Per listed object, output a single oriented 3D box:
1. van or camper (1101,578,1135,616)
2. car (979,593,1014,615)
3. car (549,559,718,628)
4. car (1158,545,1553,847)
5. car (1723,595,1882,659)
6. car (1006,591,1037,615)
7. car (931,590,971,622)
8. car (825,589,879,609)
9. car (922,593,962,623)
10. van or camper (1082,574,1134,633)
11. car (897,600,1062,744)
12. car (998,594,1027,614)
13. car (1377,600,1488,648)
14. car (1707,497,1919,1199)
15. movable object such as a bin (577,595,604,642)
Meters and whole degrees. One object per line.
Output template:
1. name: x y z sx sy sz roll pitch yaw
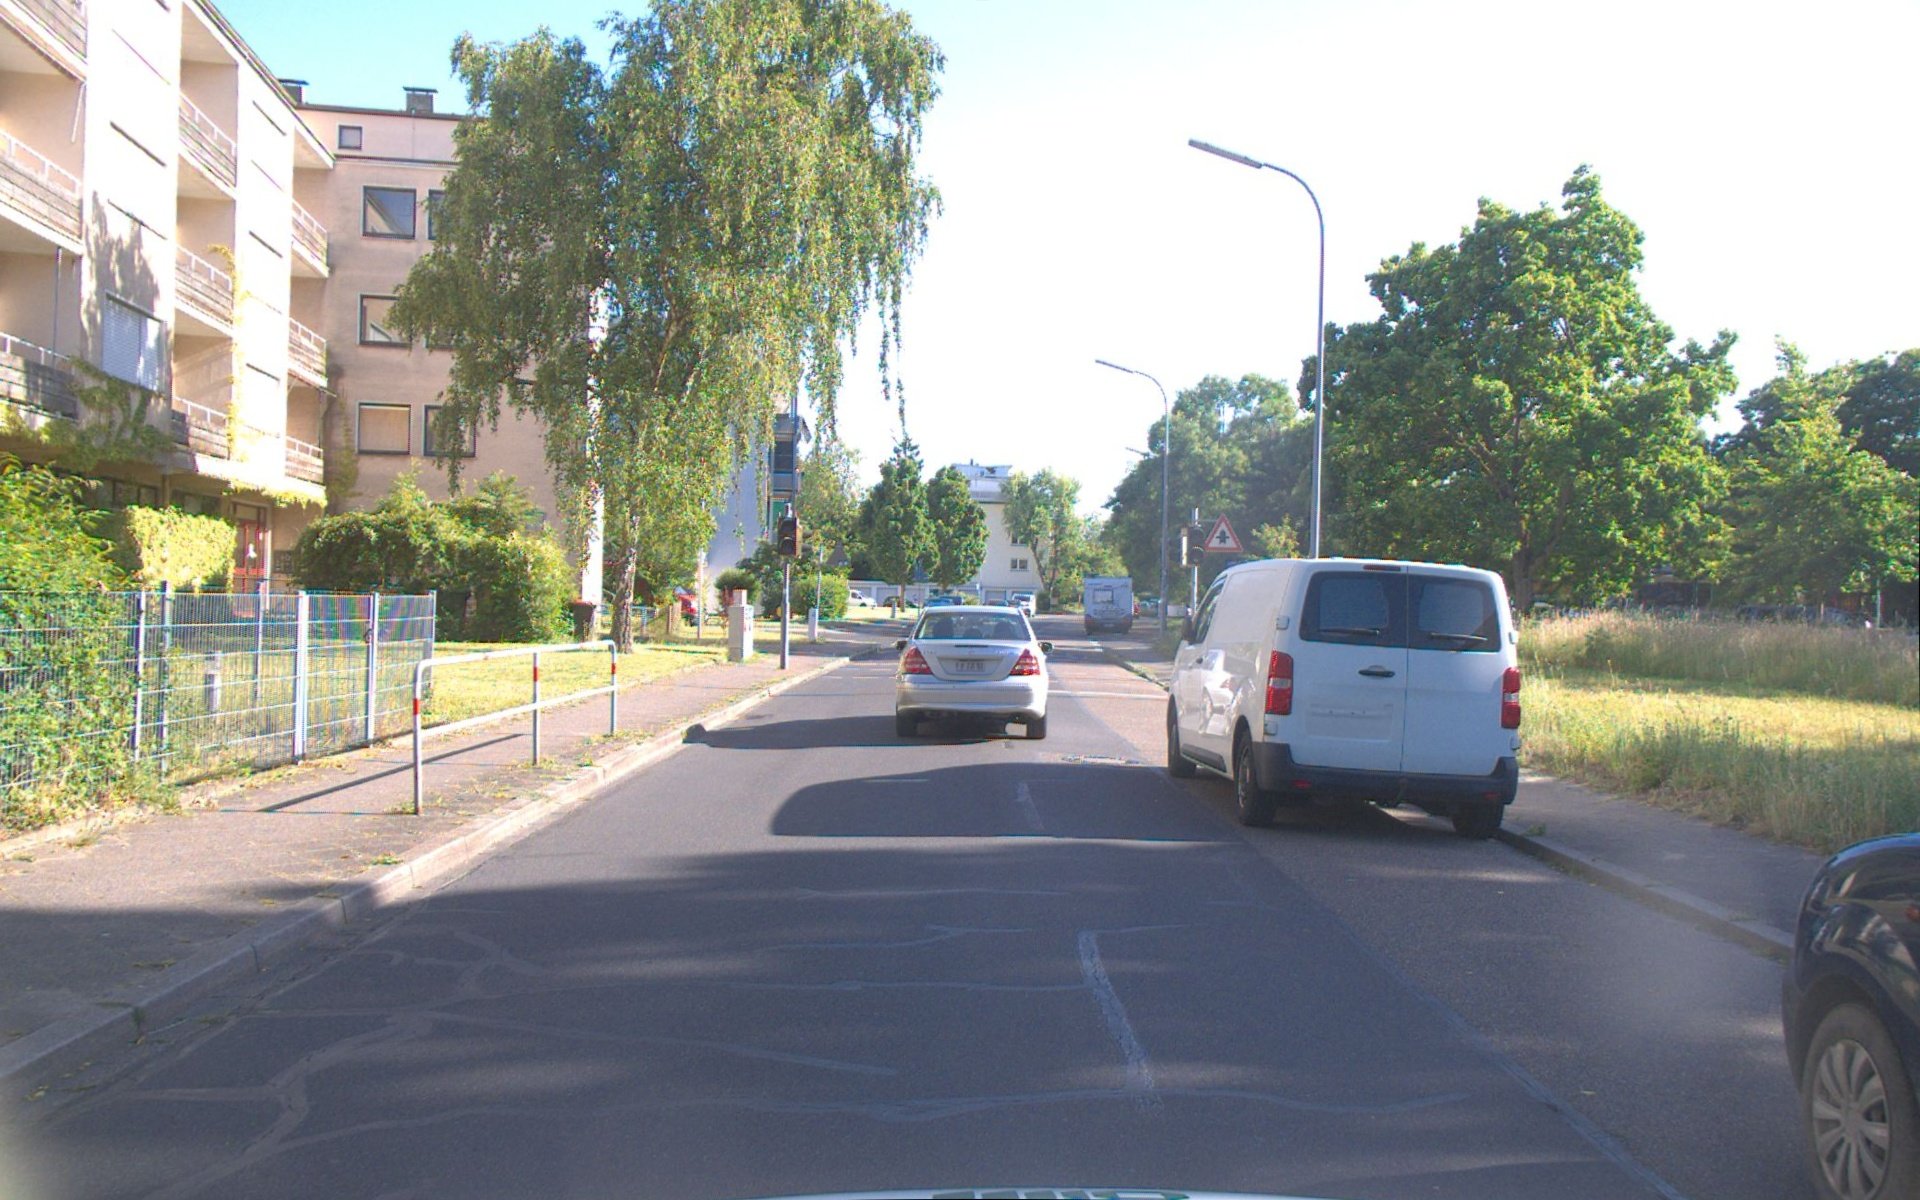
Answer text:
1. van or camper: 12.289 -0.226 128.472 2.443 2.895 6.856 1 0 7
2. car: 2.745 0.277 123.070 1.992 1.518 5.260 4 1 7
3. car: -12.113 -0.265 61.585 5.782 2.471 2.214 0 1 2
4. car: 2.888 0.623 13.287 1.876 1.904 4.864 2 0 -1
5. car: 29.036 0.906 57.165 4.408 2.047 2.276 1 0 11
6. car: 5.323 0.245 142.234 1.971 1.918 5.195 3 0 9
7. car: -0.474 0.331 94.430 1.874 1.631 4.814 4 1 4
8. car: -10.868 -0.118 166.959 4.997 1.985 2.239 1 0 16
9. car: -0.944 0.397 88.132 1.612 1.492 4.333 2 0 5
10. van or camper: 6.989 0.160 78.605 2.302 2.642 6.429 -2 0 4
11. car: 0.194 0.748 18.881 1.697 1.459 3.438 1 0 0
12. car: 4.344 0.333 135.805 1.794 1.544 4.225 3 0 8
13. car: 16.859 0.852 59.153 3.606 1.605 1.830 1 0 10
14. car: 3.027 0.679 2.802 1.663 1.760 4.084 2 0 1
15. movable object such as a bin: -8.712 0.433 38.970 0.555 1.072 0.554 1 0 -20
